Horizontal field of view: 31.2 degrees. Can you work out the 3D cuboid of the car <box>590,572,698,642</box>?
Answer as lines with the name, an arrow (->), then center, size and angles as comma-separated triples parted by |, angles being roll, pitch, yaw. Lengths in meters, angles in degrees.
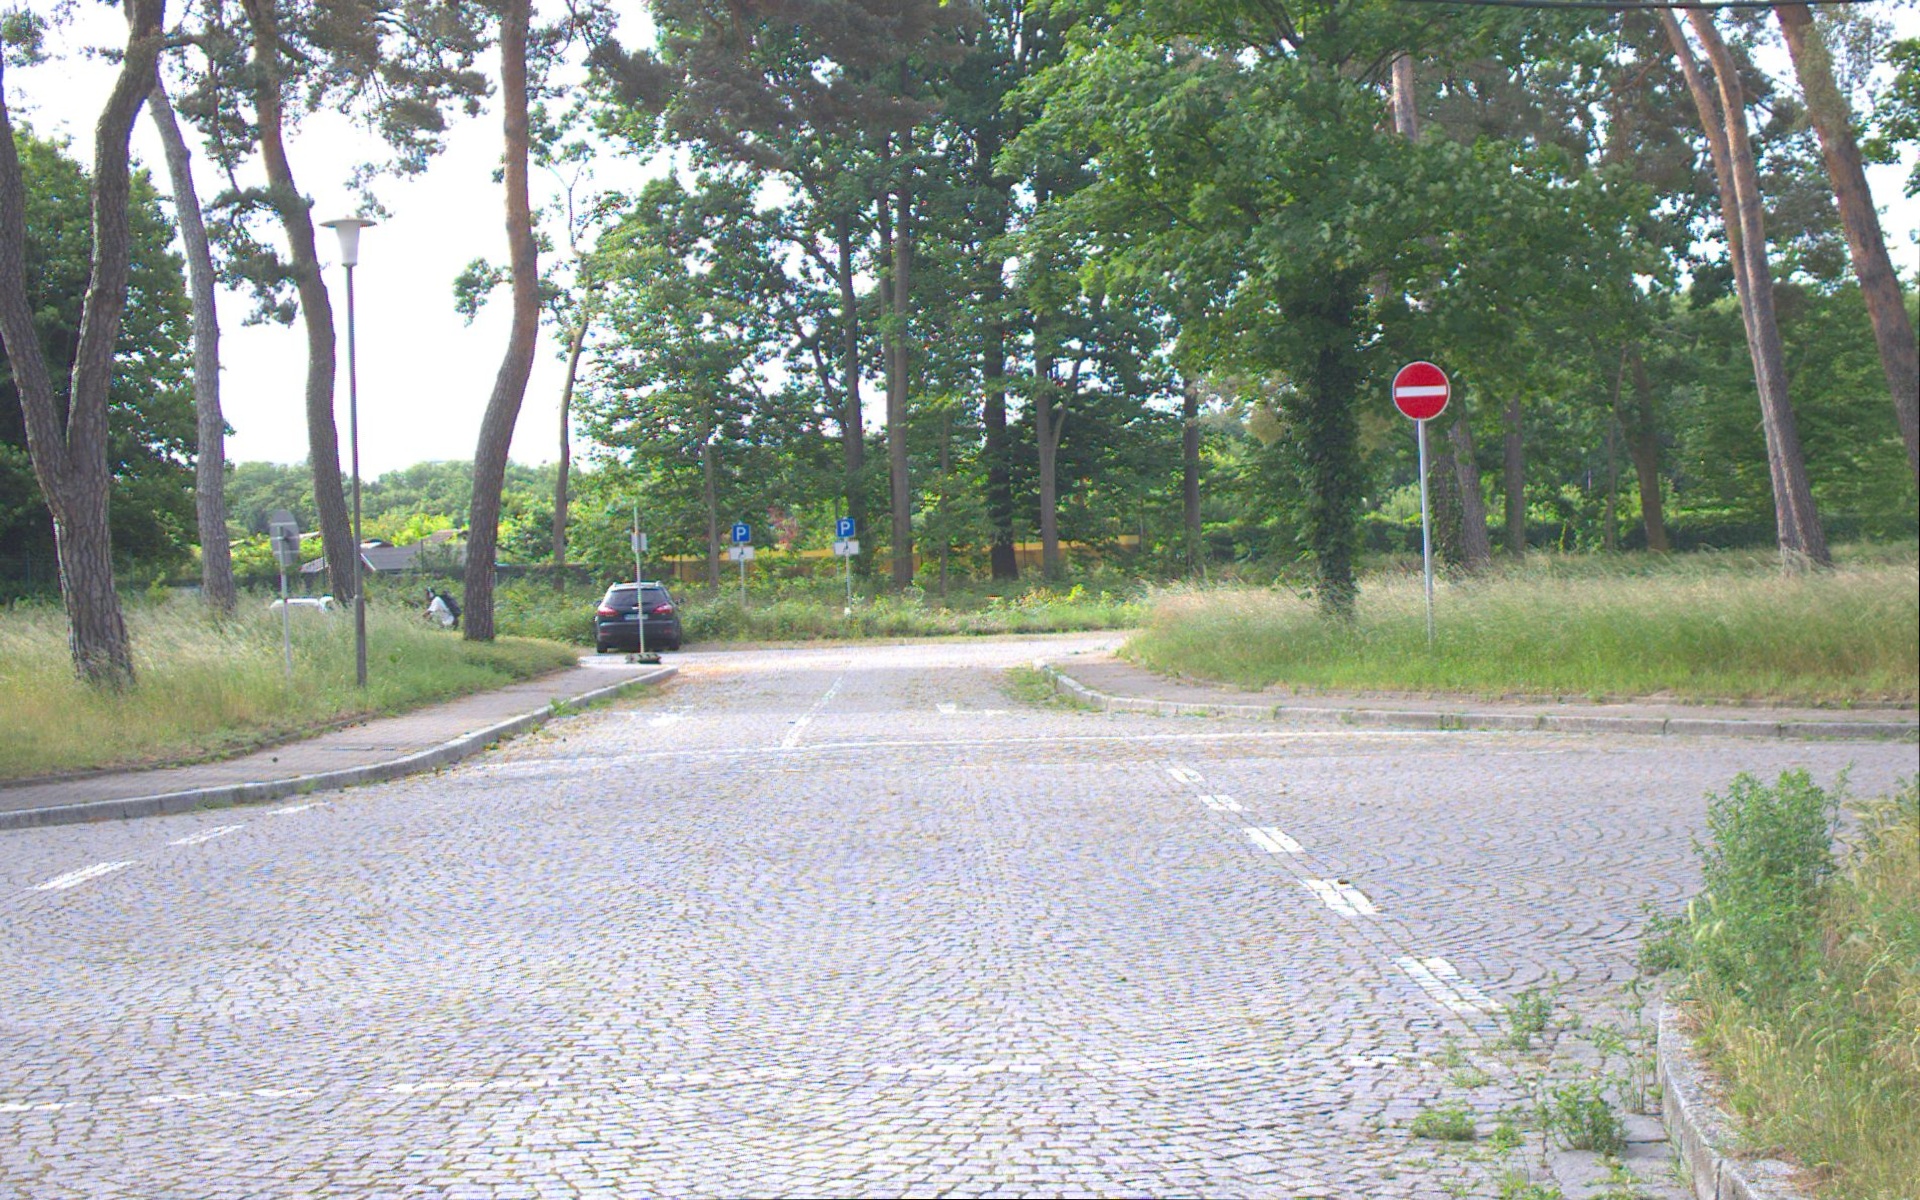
car -> -7.034, 0.142, 76.858 | 1.993, 1.503, 4.000 | 0, 1, 0

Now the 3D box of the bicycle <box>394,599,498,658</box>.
bicycle -> -10.310, 0.571, 69.021 | 1.986, 1.091, 0.810 | -2, 1, -4

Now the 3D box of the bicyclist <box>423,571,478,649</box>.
bicyclist -> -10.223, 0.196, 69.029 | 0.974, 1.505, 0.807 | -2, 1, -4

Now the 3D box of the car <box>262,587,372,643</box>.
car -> -14.561, 0.334, 78.012 | 1.689, 1.152, 4.000 | -2, 1, 0
